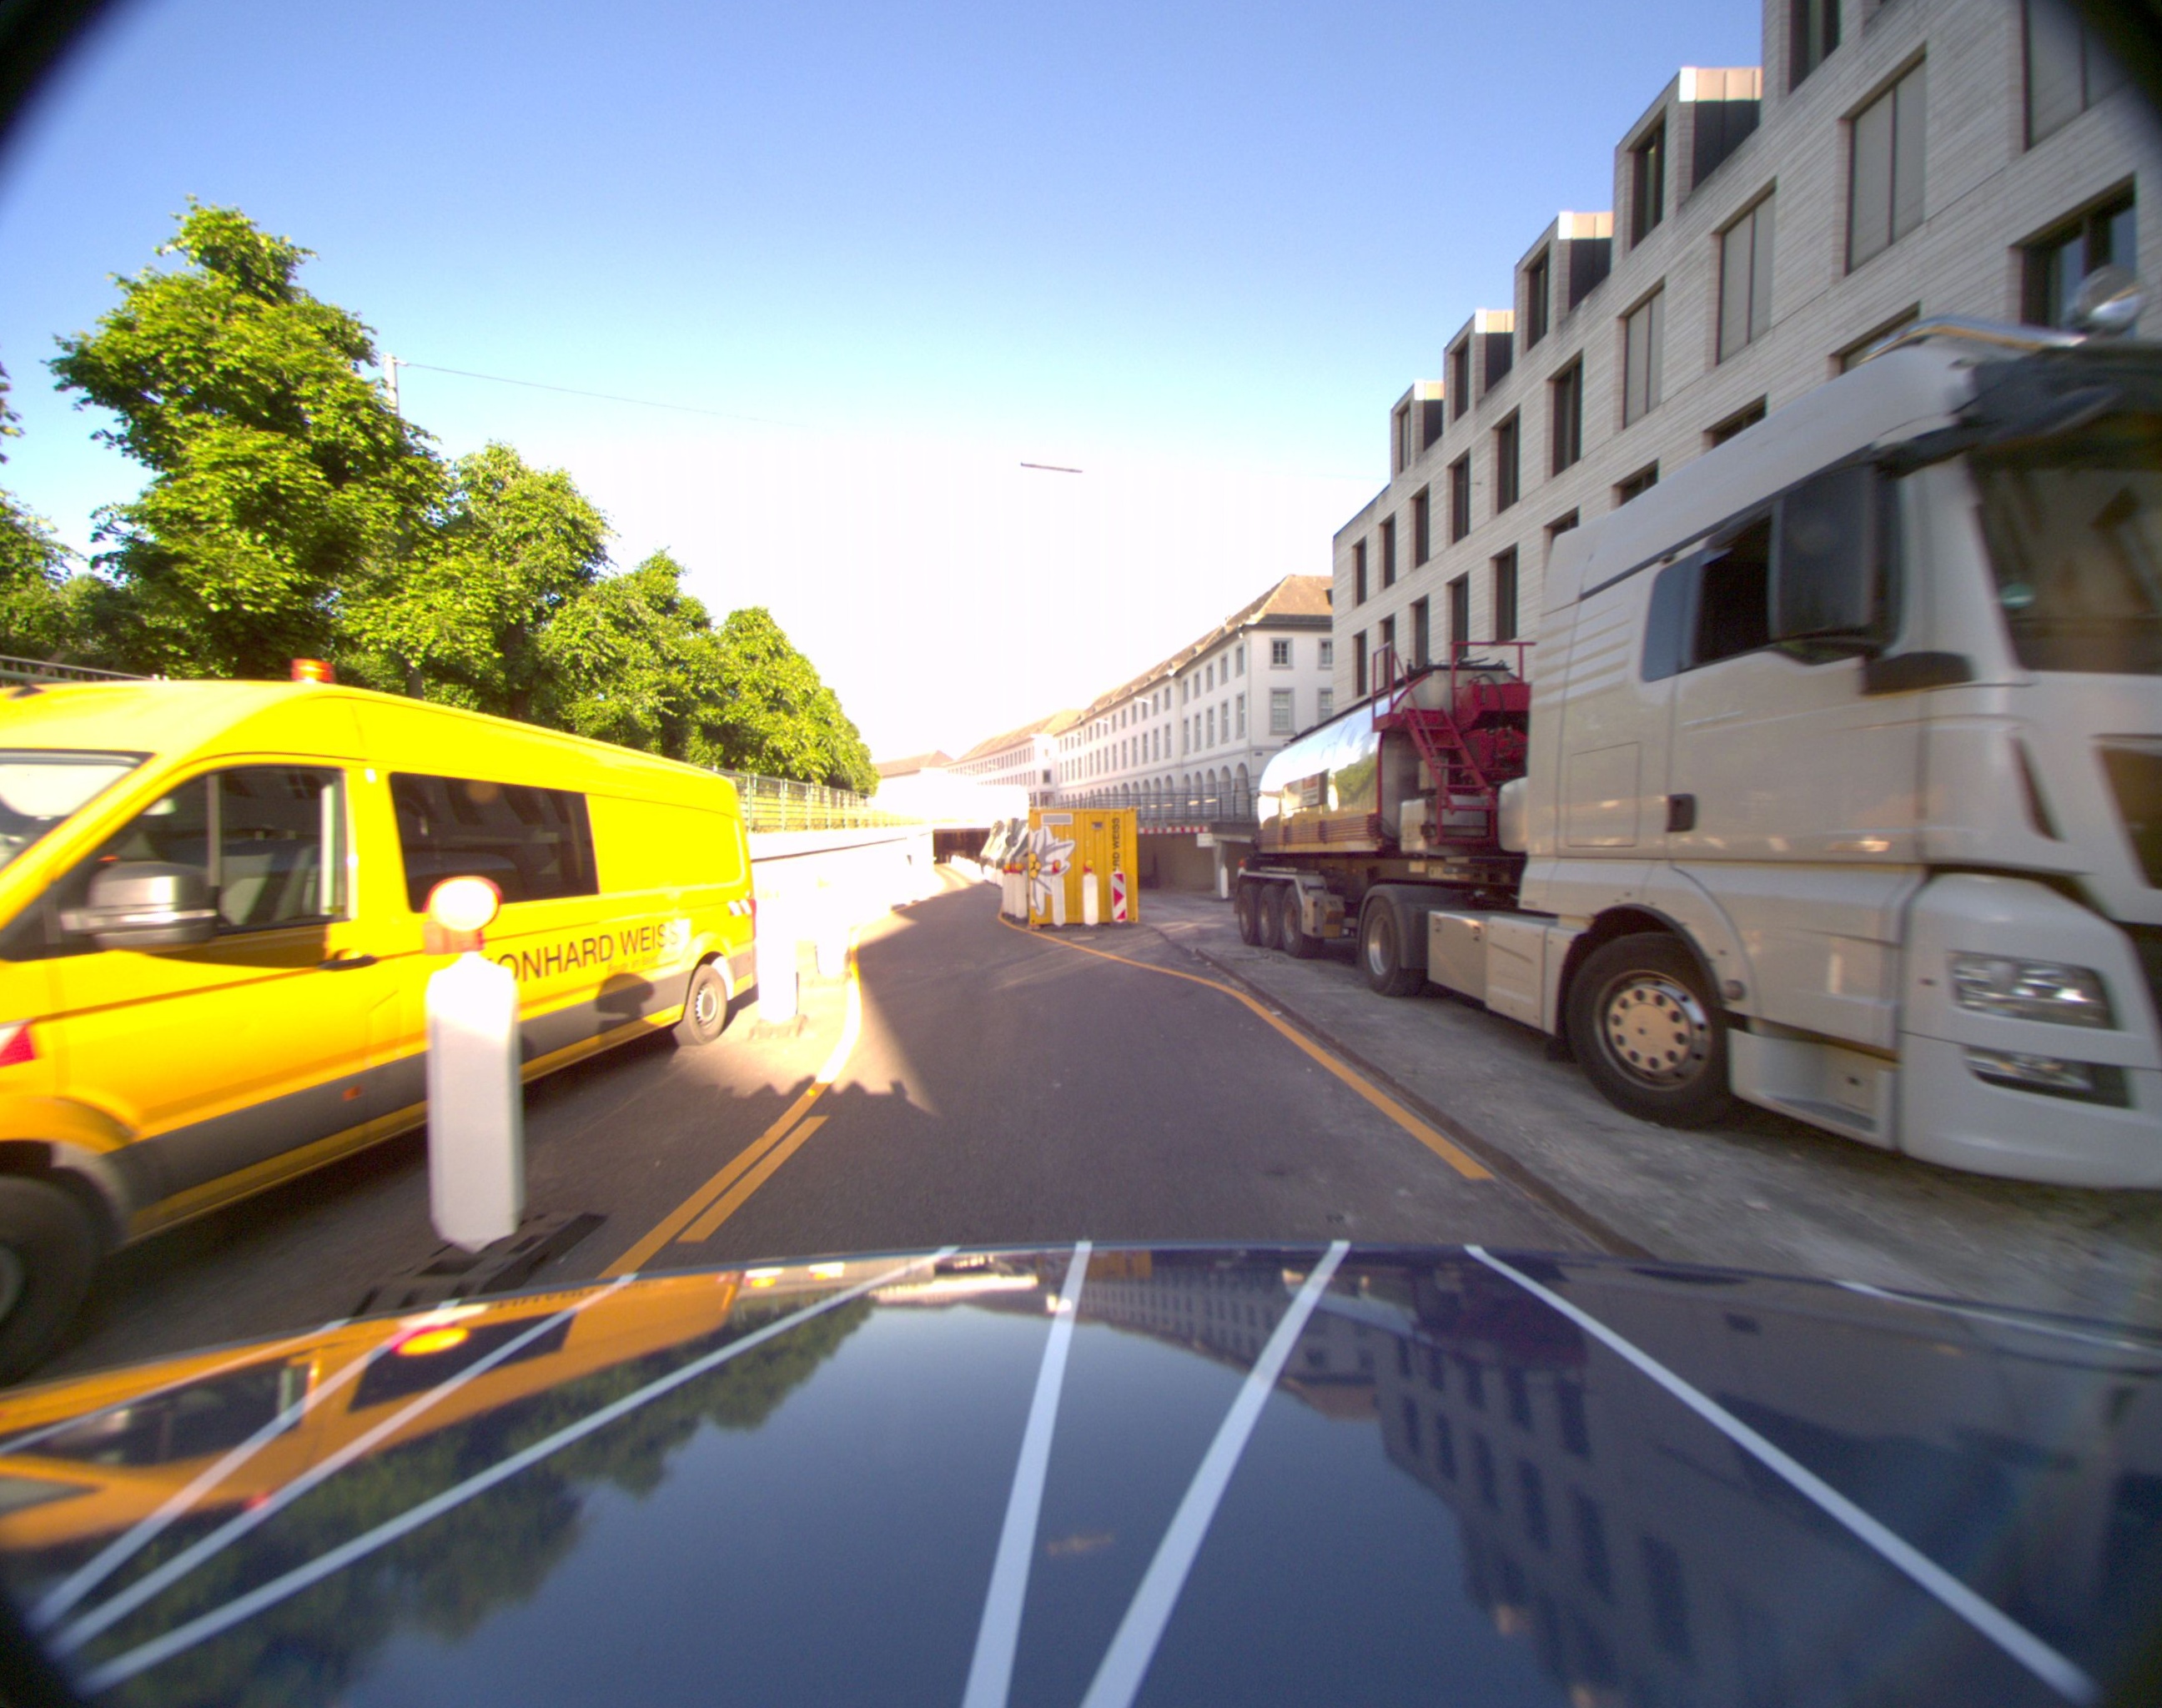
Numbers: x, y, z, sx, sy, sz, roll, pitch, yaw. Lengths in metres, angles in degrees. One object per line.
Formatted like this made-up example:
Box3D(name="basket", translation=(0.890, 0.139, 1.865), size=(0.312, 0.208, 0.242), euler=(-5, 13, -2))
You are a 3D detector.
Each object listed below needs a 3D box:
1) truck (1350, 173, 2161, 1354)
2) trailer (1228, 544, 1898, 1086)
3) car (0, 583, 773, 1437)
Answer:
Box3D(name="truck", translation=(4.125, -0.223, 5.123), size=(2.585, 3.469, 5.816), euler=(2, 0, 2))
Box3D(name="trailer", translation=(4.190, -0.267, 9.637), size=(2.649, 3.648, 8.747), euler=(2, 0, -1))
Box3D(name="car", translation=(-4.339, 0.479, 4.384), size=(2.117, 2.609, 6.986), euler=(-1, 0, 1))
